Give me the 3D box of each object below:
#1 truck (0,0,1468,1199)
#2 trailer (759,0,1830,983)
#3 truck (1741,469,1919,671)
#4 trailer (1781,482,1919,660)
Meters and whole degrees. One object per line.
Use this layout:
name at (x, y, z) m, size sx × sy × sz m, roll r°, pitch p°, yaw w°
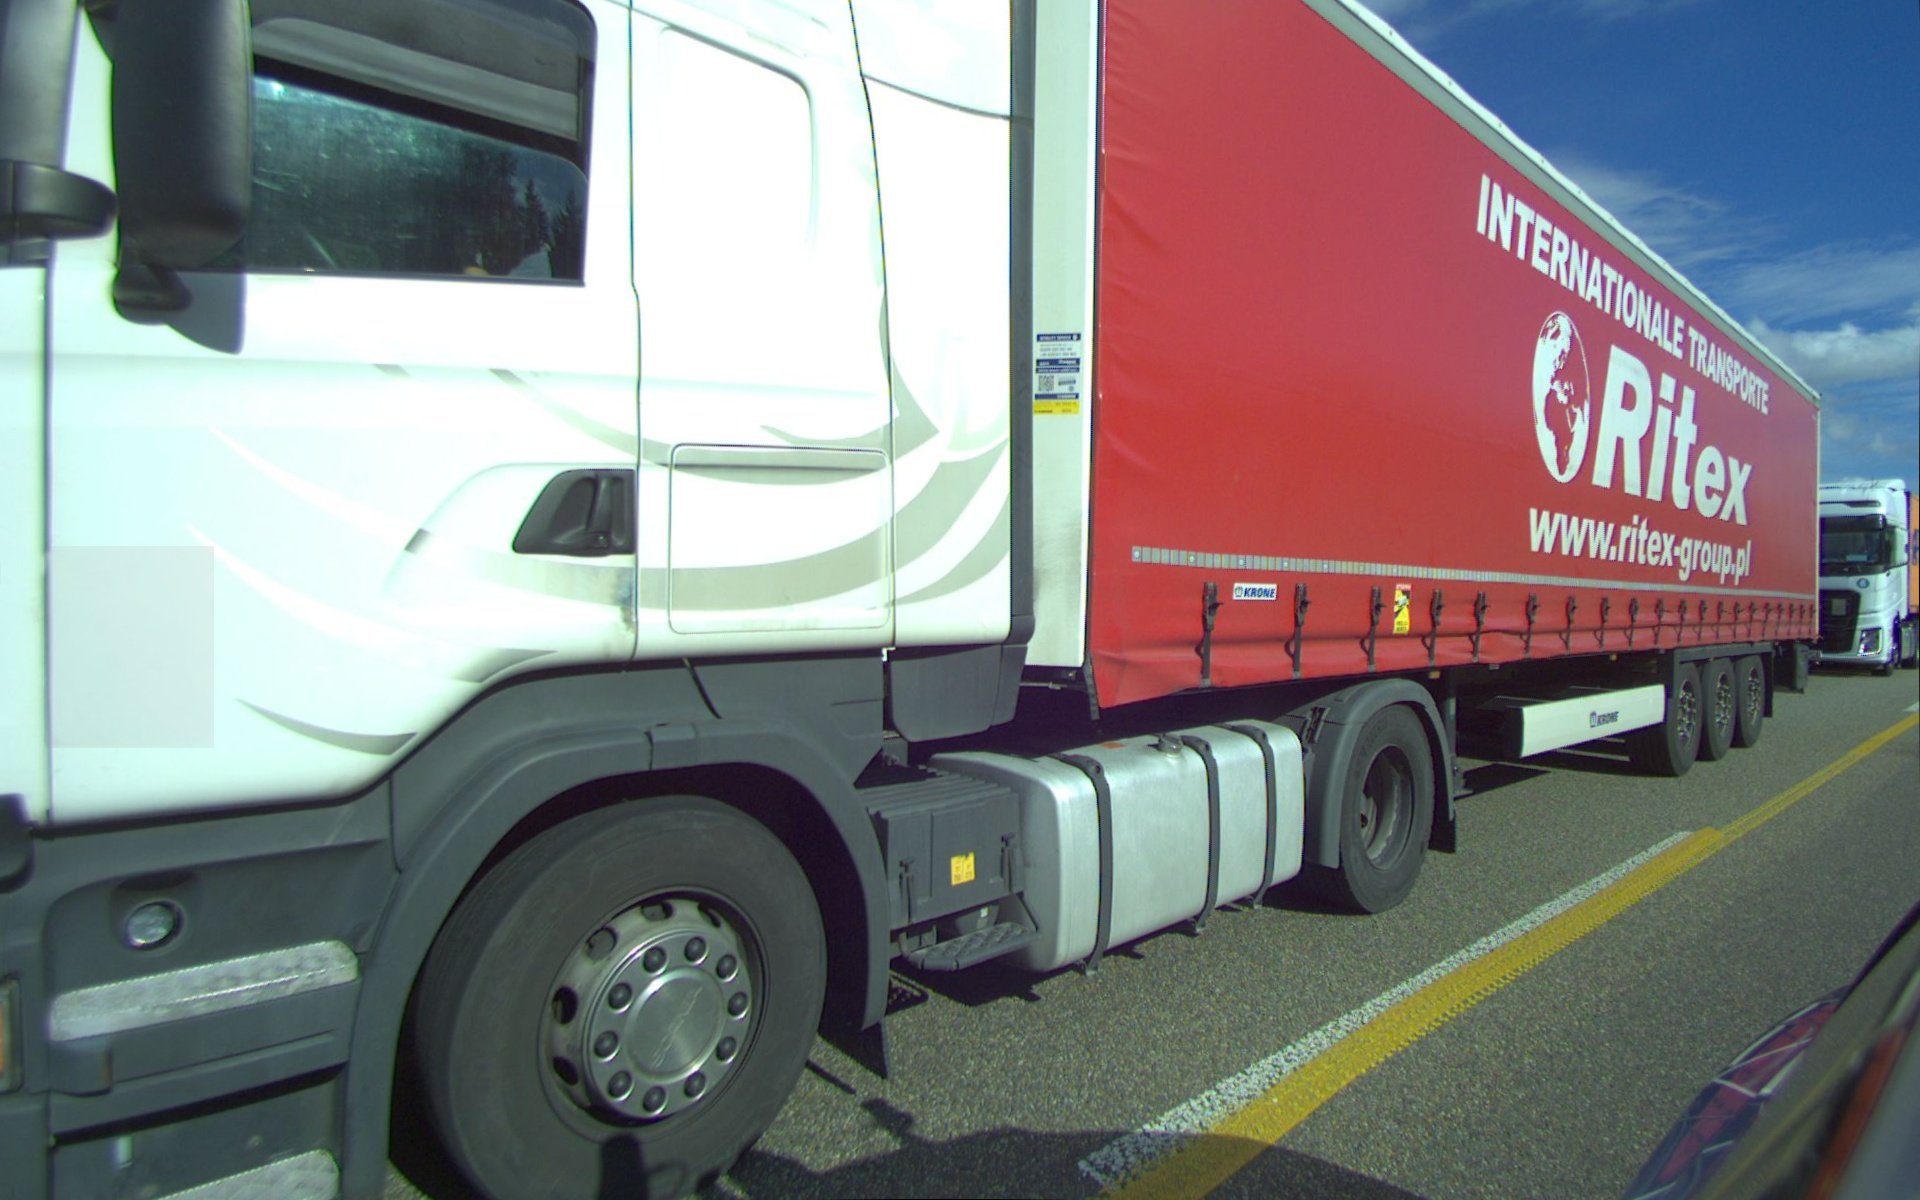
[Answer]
truck at (-0.396, -0.682, 4.232) m, size 5.612 × 4.010 × 2.671 m, roll 0°, pitch 0°, yaw -42°
trailer at (4.715, -0.744, 8.836) m, size 13.186 × 4.019 × 2.703 m, roll 0°, pitch 0°, yaw -42°
truck at (19.246, -0.589, 21.996) m, size 5.688 × 3.828 × 2.499 m, roll 0°, pitch 0°, yaw -41°
trailer at (24.323, -0.637, 26.439) m, size 11.924 × 3.822 × 2.475 m, roll 0°, pitch 0°, yaw -41°
